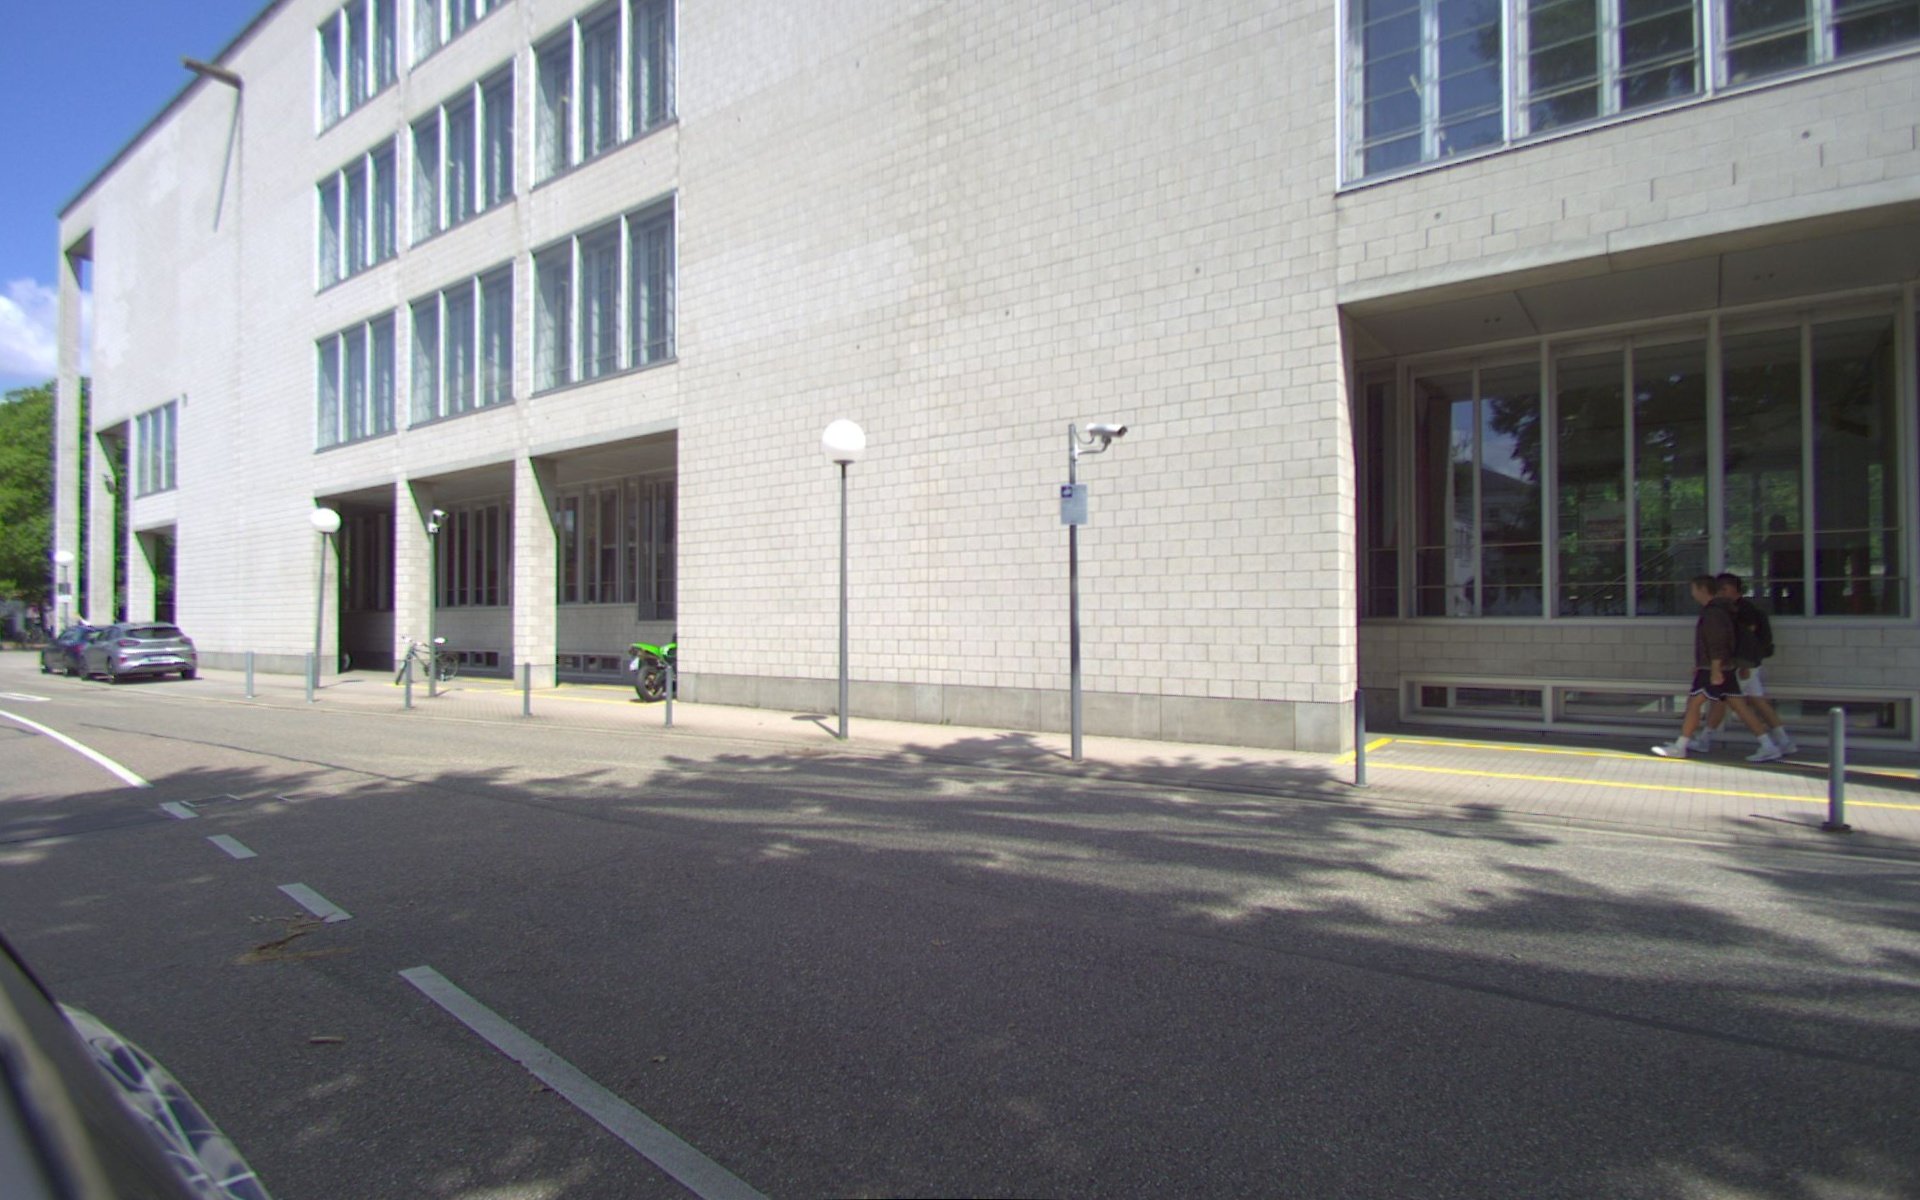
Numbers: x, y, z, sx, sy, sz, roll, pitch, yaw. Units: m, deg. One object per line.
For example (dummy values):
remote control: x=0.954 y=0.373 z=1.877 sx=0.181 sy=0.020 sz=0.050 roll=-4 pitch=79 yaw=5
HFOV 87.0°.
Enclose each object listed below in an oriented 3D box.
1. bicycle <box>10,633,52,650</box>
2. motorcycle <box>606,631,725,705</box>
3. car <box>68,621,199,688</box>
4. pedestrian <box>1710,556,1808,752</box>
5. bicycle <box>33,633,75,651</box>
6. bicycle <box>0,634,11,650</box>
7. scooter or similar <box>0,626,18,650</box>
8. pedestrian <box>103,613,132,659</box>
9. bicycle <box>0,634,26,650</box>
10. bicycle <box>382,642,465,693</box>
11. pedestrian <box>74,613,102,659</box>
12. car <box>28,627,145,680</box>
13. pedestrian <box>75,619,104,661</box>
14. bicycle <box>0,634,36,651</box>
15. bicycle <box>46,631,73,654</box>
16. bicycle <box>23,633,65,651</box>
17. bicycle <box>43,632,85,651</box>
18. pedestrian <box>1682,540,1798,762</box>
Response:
bicycle: x=-61.037 y=2.710 z=66.502 sx=0.675 sy=1.066 sz=2.119 roll=-1 pitch=-1 yaw=7
motorcycle: x=-5.211 y=1.179 z=18.071 sx=0.771 sy=1.146 sz=2.153 roll=-1 pitch=0 yaw=27
car: x=-21.838 y=1.367 z=26.693 sx=4.399 sy=1.546 sz=1.710 roll=-1 pitch=1 yaw=38
pedestrian: x=8.099 y=0.525 z=10.292 sx=0.718 sy=1.895 sz=0.724 roll=-1 pitch=-1 yaw=37
bicycle: x=-59.318 y=2.721 z=66.268 sx=0.675 sy=1.115 sz=2.119 roll=-1 pitch=-1 yaw=7
bicycle: x=-64.547 y=2.814 z=67.360 sx=0.615 sy=1.066 sz=2.119 roll=-1 pitch=-1 yaw=7
scooter or similar: x=-49.821 y=1.984 z=52.752 sx=0.702 sy=1.200 sz=1.620 roll=0 pitch=-1 yaw=-31
pedestrian: x=-37.587 y=1.585 z=45.147 sx=1.079 sy=2.029 sz=0.746 roll=-2 pitch=-1 yaw=37
bicycle: x=-63.216 y=2.784 z=67.016 sx=0.615 sy=1.066 sz=2.119 roll=-1 pitch=-1 yaw=7
bicycle: x=-12.493 y=1.543 z=23.612 sx=0.606 sy=1.095 sz=1.626 roll=-1 pitch=-1 yaw=31
pedestrian: x=-38.869 y=1.594 z=45.119 sx=1.079 sy=2.029 sz=0.746 roll=-2 pitch=-1 yaw=37
car: x=-25.902 y=1.549 z=29.959 sx=4.657 sy=1.434 sz=1.710 roll=-1 pitch=-2 yaw=38
pedestrian: x=-38.059 y=1.731 z=44.266 sx=1.079 sy=1.794 sz=0.746 roll=-1 pitch=-1 yaw=37
bicycle: x=-62.527 y=2.778 z=66.934 sx=0.675 sy=1.066 sz=2.119 roll=-1 pitch=-1 yaw=7
bicycle: x=-44.637 y=2.122 z=50.156 sx=1.995 sy=1.115 sz=0.503 roll=-1 pitch=-2 yaw=33
bicycle: x=-60.055 y=2.727 z=66.354 sx=0.675 sy=1.115 sz=2.119 roll=-1 pitch=-1 yaw=7
bicycle: x=-58.574 y=2.708 z=66.162 sx=0.744 sy=1.166 sz=2.119 roll=-1 pitch=-1 yaw=7
pedestrian: x=7.527 y=0.472 z=9.796 sx=0.828 sy=2.029 sz=0.692 roll=-1 pitch=-1 yaw=37
